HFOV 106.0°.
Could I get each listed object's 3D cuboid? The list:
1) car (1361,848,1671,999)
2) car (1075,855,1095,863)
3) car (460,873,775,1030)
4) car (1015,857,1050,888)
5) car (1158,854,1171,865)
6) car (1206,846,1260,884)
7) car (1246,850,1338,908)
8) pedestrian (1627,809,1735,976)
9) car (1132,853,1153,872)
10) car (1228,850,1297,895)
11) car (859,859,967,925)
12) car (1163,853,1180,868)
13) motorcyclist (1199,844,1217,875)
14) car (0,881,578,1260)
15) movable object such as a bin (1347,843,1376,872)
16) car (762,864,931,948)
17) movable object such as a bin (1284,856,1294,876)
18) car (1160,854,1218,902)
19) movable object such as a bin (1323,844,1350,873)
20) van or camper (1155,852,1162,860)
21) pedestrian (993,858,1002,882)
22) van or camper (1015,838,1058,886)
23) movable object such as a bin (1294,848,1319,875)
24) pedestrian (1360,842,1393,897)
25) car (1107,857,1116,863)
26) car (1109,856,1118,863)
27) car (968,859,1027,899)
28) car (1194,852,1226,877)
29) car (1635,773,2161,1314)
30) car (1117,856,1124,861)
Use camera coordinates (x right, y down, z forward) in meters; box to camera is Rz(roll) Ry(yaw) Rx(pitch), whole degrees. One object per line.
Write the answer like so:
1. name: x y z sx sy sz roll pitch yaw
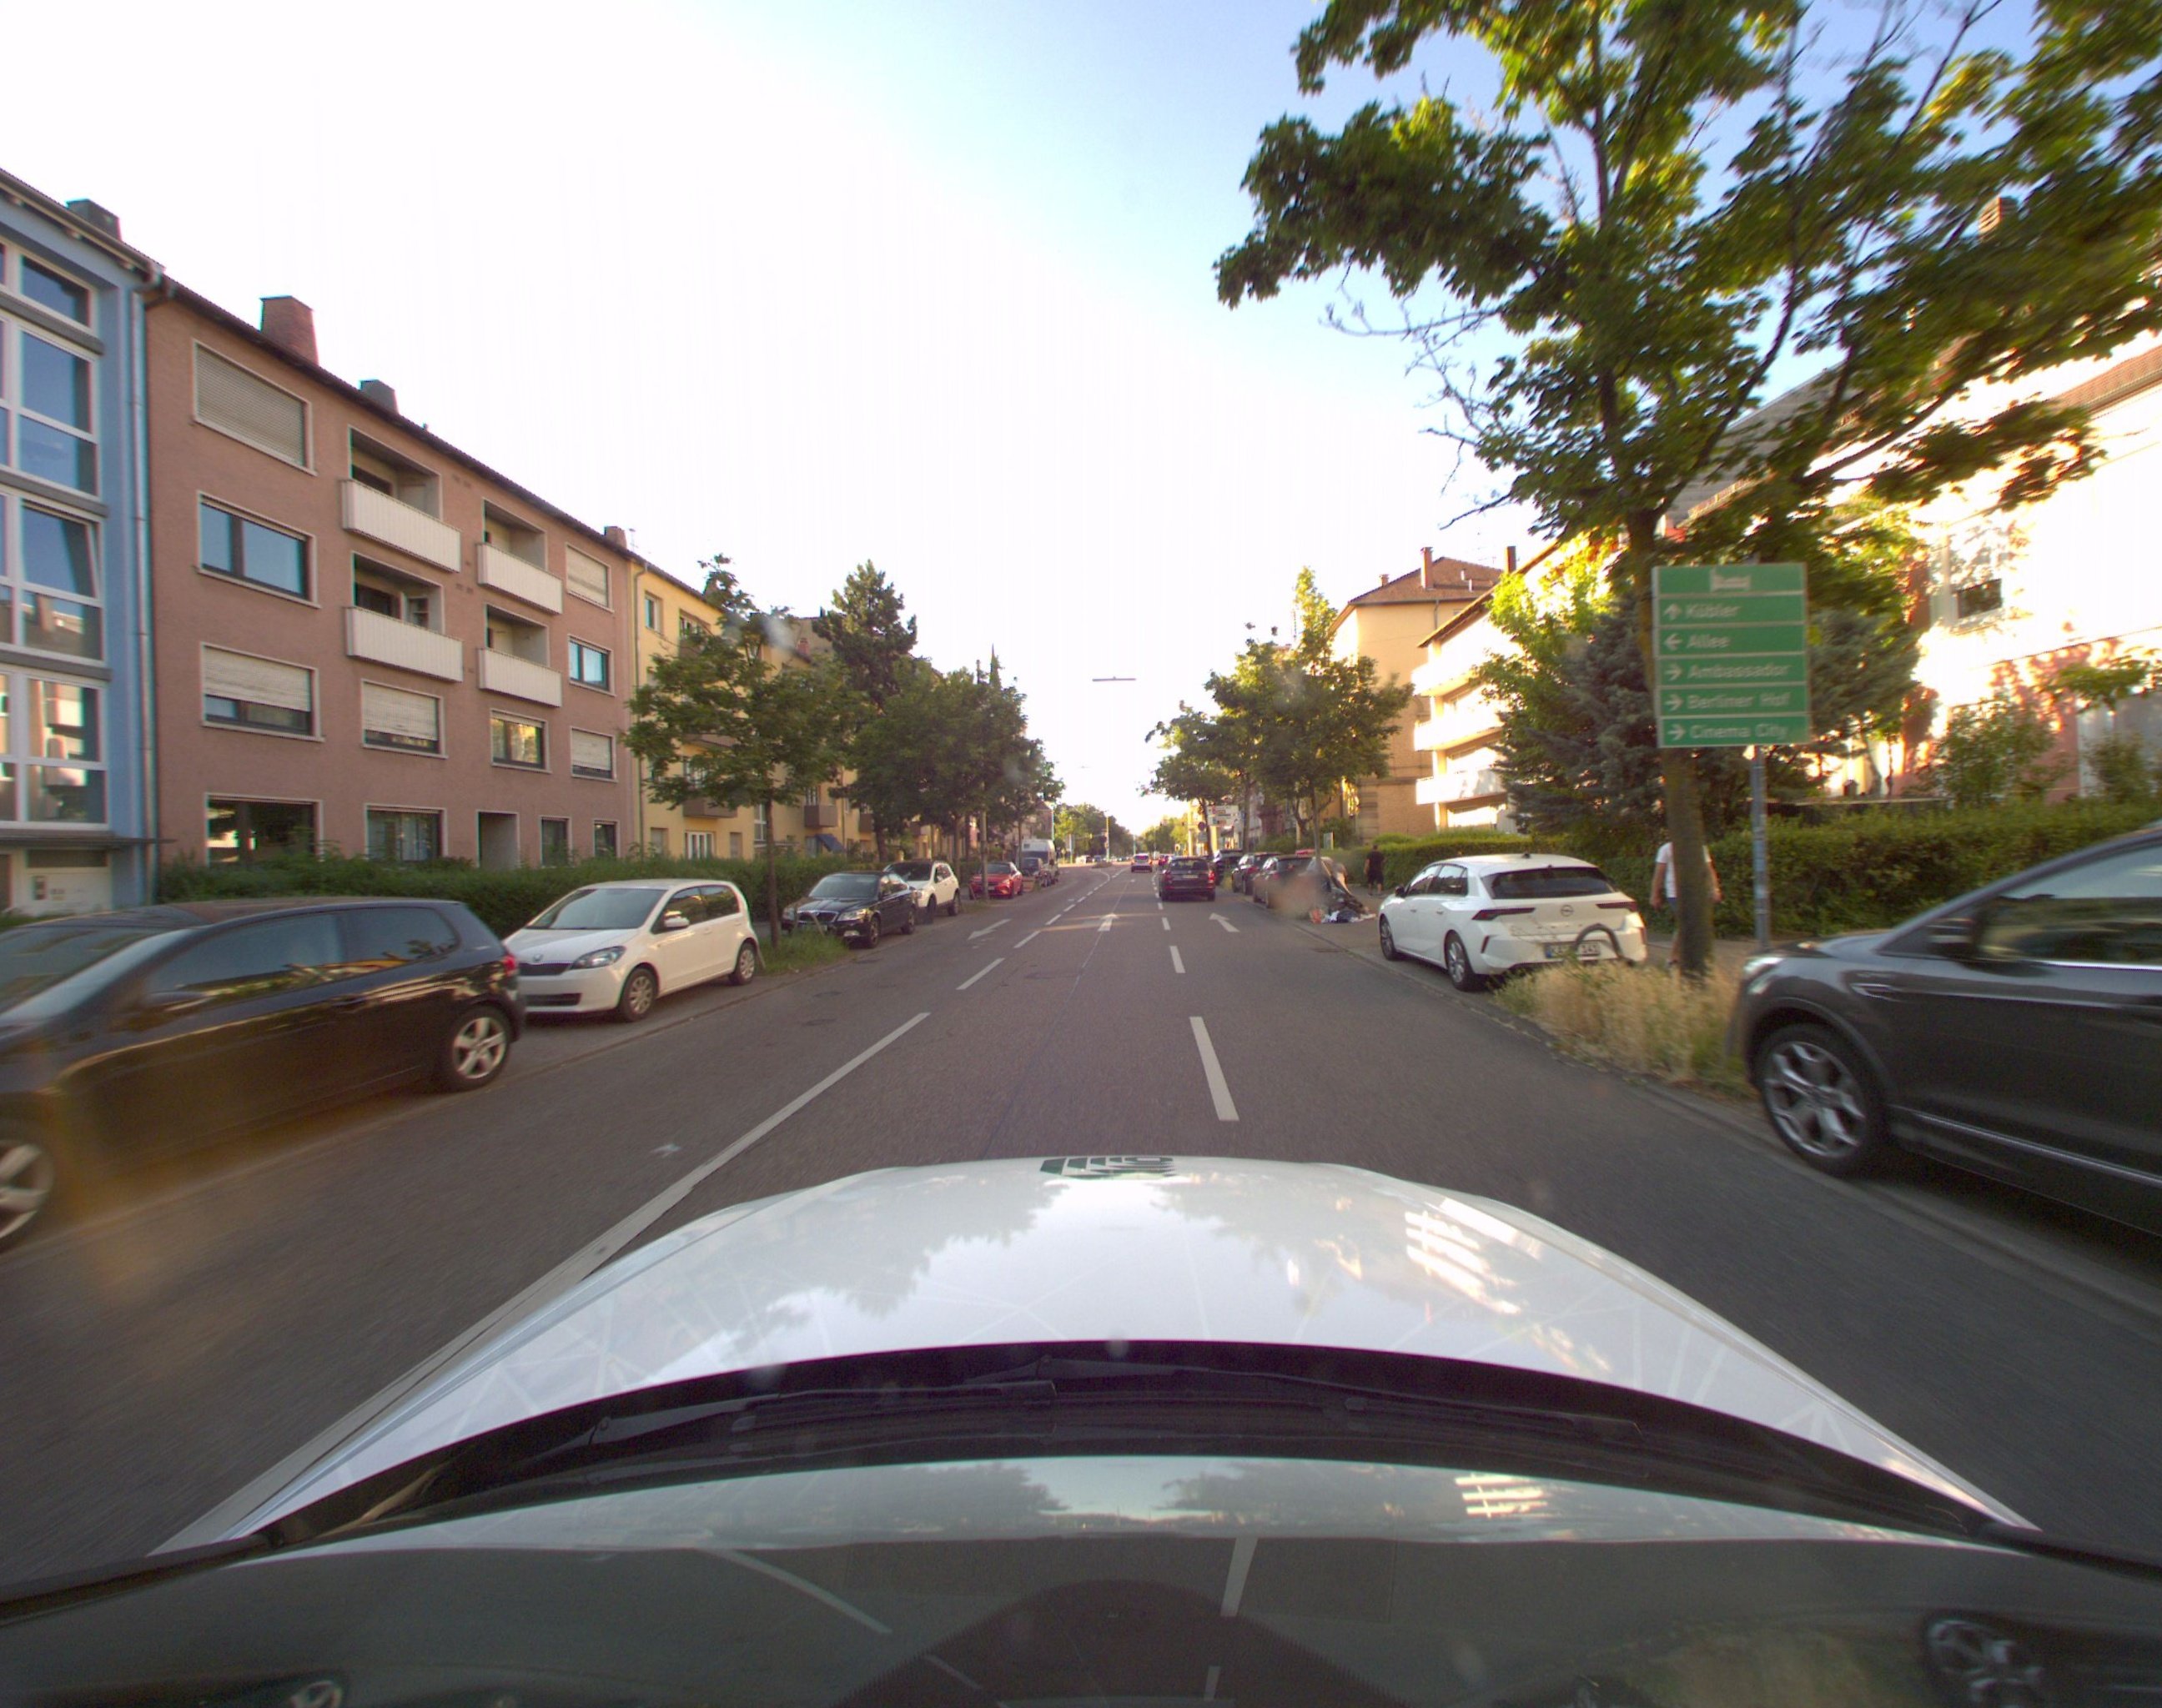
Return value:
1. car: 4.986 0.682 10.123 1.754 1.402 4.339 -3 0 4
2. car: 0.699 0.935 152.651 3.304 1.494 1.635 -2 0 32
3. car: -5.333 1.021 9.977 1.584 1.492 3.645 -1 -1 4
4. car: -2.523 0.948 42.642 1.397 1.548 2.766 0 0 6
5. car: 11.255 0.702 109.798 1.577 1.446 3.652 0 0 4
6. car: 7.190 0.501 38.943 1.939 1.655 4.801 -2 0 3
7. car: 6.020 0.667 23.739 1.762 1.448 4.489 -3 0 4
8. pedestrian: 6.718 0.419 9.151 0.665 1.783 0.765 1 -2 4
9. car: 5.164 0.712 68.377 1.699 1.510 4.314 -1 0 5
10. car: 6.644 0.624 30.241 1.709 1.472 4.434 -3 0 2
11. car: -4.470 0.968 22.327 1.768 1.588 4.191 -1 0 4
12. car: 9.615 0.682 86.401 1.643 1.484 4.245 -1 0 5
13. motorcyclist: 7.422 0.351 47.677 0.735 1.778 1.085 -2 -1 -7
14. car: -5.450 1.000 4.937 1.828 1.517 4.322 -1 0 5
15. movable object such as a bin: 15.683 0.181 45.557 1.153 1.555 0.993 -2 0 -6
16. car: -4.771 0.989 17.336 1.985 1.448 4.463 -2 0 4
17. movable object such as a bin: 11.719 0.679 45.913 0.490 1.059 0.550 -2 0 16
18. car: 3.548 0.749 27.257 1.699 1.457 4.164 -1 0 5
19. movable object such as a bin: 14.363 0.247 45.819 1.153 1.555 0.993 -2 0 -6
20. van or camper: 24.279 0.596 255.359 1.983 2.640 5.359 -2 0 6
21. pedestrian: -5.704 1.084 55.743 0.478 1.652 0.725 -2 0 -2
22. van or camper: -2.527 0.440 47.608 2.028 2.664 6.018 0 0 2
23. movable object such as a bin: 12.741 0.422 45.942 1.242 1.441 0.999 -2 0 18
24. pedestrian: 8.931 0.464 24.637 0.743 1.616 0.580 -2 0 2
25. car: 6.611 1.354 176.820 1.771 1.236 4.006 -2 0 5
26. car: 7.432 1.223 183.361 1.771 1.464 4.006 -2 0 5
27. car: -3.336 0.989 33.236 1.709 1.451 3.927 -1 0 4
28. car: 8.715 0.660 55.322 1.846 1.512 4.842 -3 0 6
29. car: 4.276 0.535 2.607 1.908 1.681 4.711 -3 0 3
30. car: 10.751 1.330 220.589 1.771 1.236 4.006 -2 0 5
